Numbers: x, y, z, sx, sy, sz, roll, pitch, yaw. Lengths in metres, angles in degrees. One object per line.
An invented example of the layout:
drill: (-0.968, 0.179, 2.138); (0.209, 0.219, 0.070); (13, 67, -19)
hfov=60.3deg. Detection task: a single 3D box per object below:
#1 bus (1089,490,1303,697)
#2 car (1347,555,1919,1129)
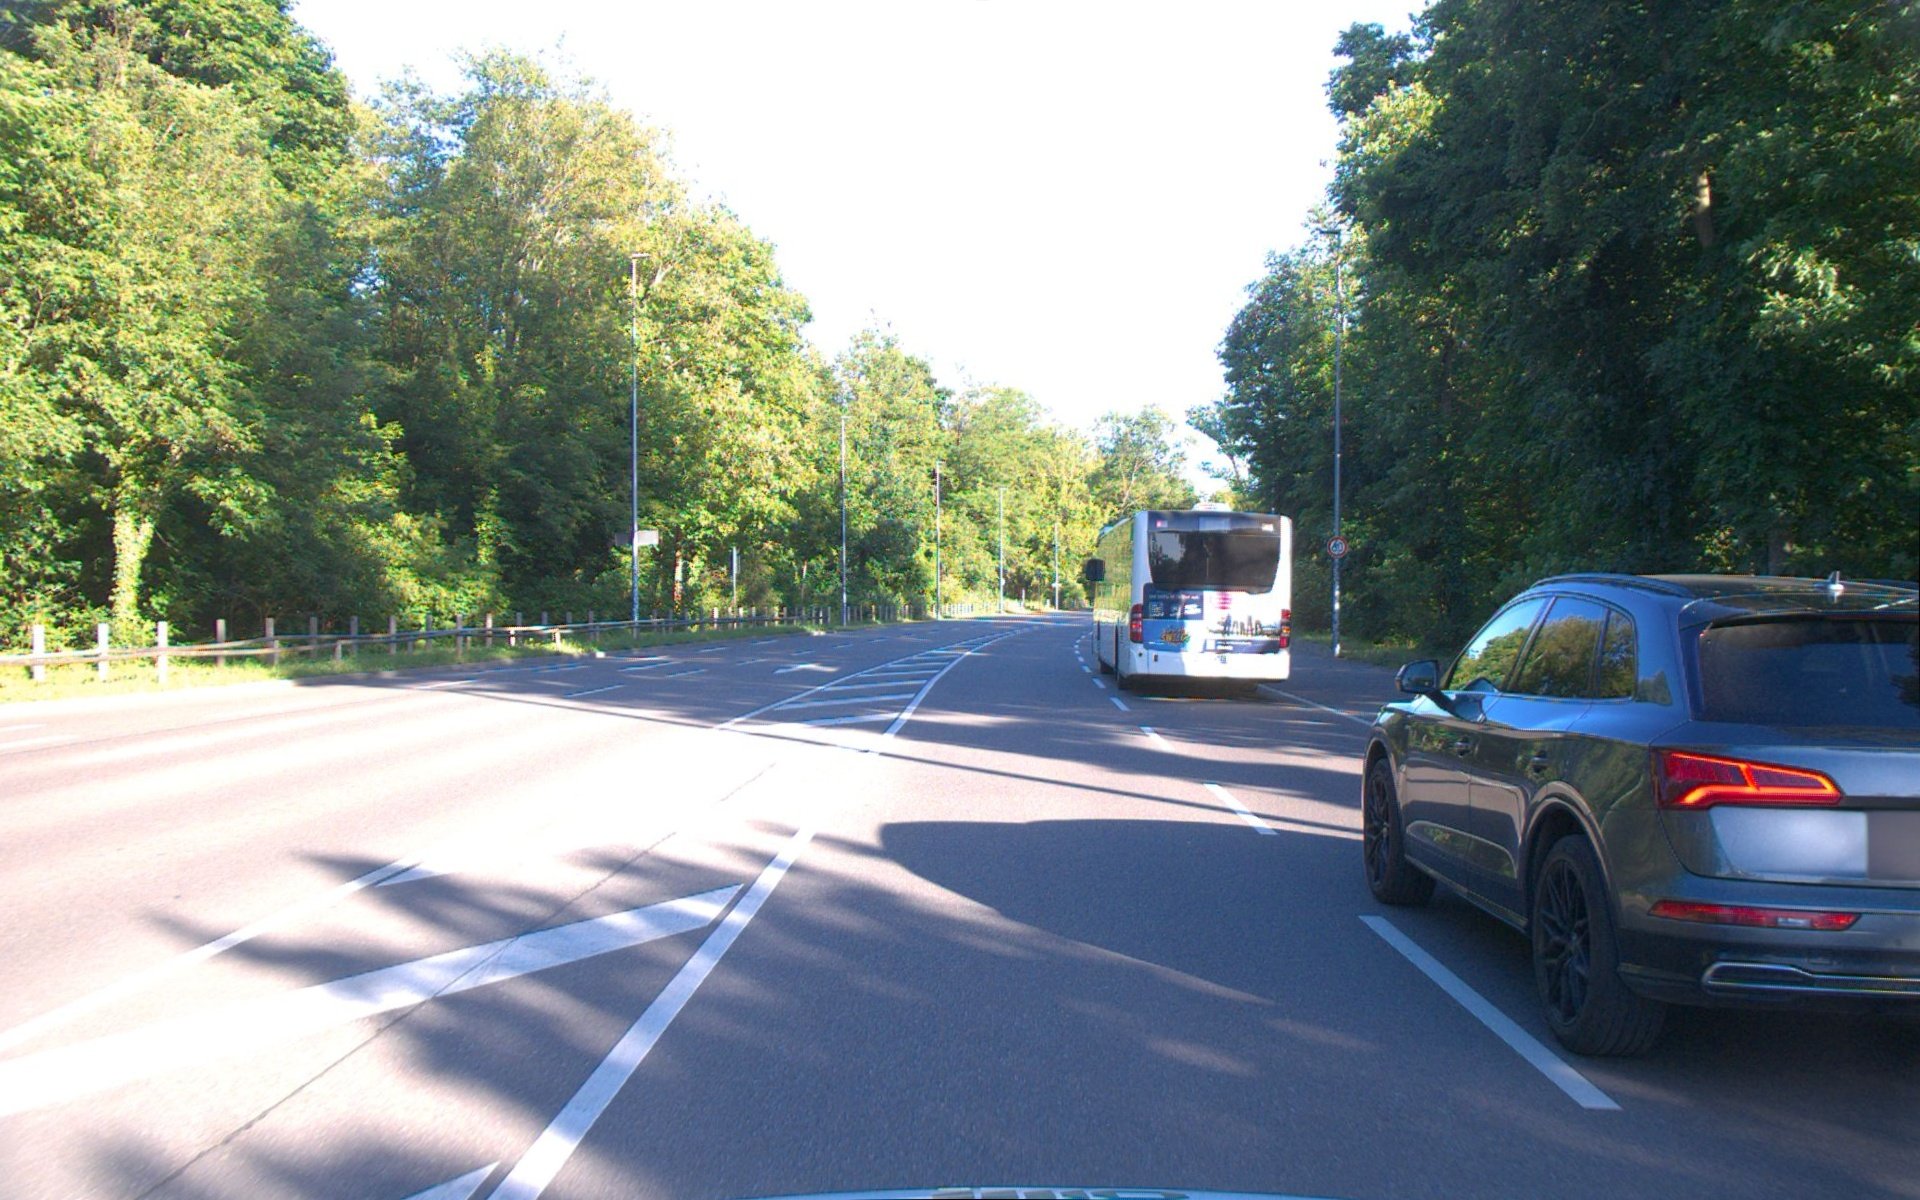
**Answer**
bus: (4.051, -0.113, 31.095); (2.634, 3.096, 12.044); (1, 0, 2)
car: (3.076, 0.692, 7.017); (1.854, 1.633, 4.545); (1, 0, 1)
